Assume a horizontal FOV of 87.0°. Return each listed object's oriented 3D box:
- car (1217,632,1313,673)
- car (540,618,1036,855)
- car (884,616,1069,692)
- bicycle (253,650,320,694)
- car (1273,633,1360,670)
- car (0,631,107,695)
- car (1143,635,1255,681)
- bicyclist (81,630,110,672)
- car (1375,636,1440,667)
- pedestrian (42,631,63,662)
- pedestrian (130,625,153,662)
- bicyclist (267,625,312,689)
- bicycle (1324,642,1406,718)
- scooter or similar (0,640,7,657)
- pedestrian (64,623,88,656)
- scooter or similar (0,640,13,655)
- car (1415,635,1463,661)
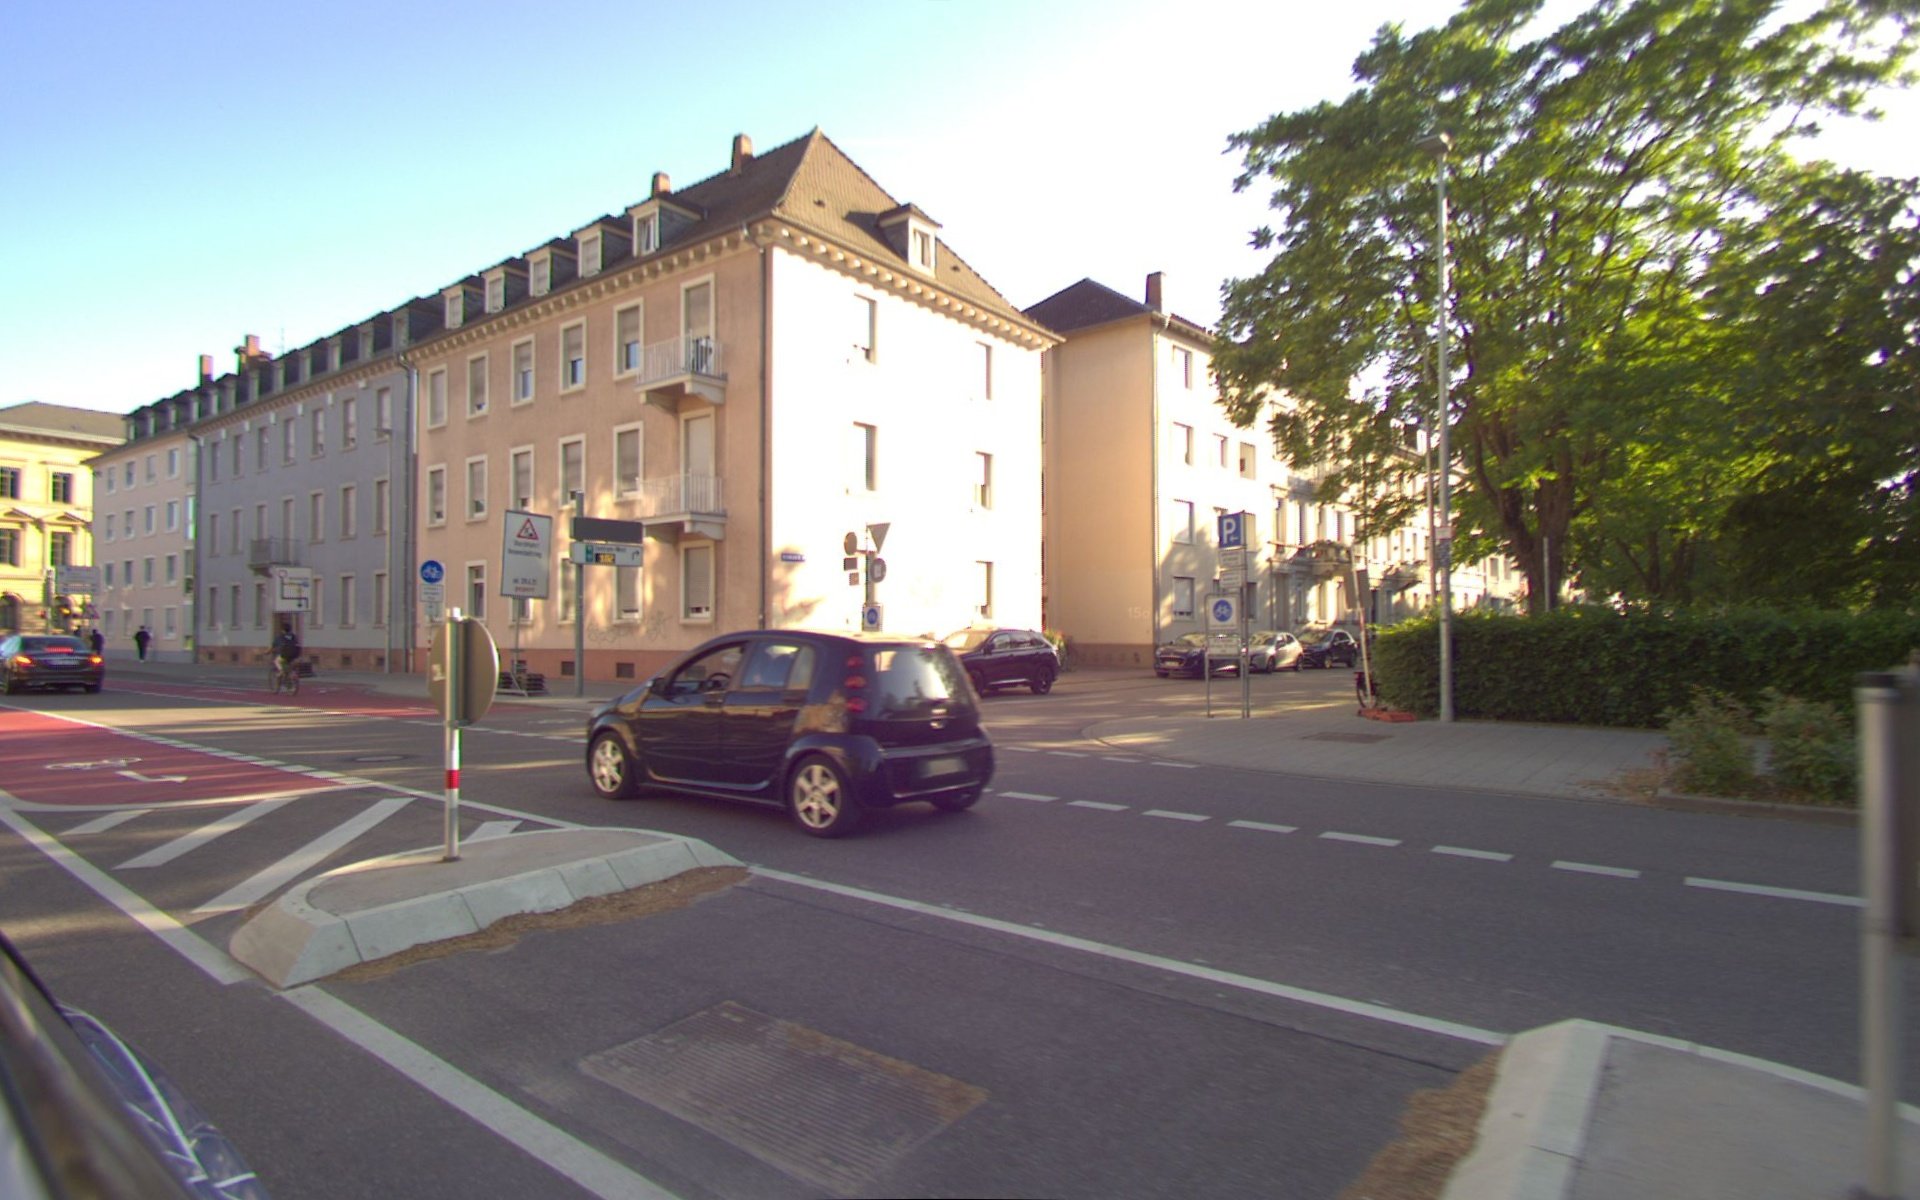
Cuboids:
[{"bbox_3d":[11.311,1.918,37.408,1.877,1.431,4.212,-2,-3,40],"label":"car"},{"bbox_3d":[-1.524,0.923,8.225,3.994,1.470,1.741,-2,-3,38],"label":"car"},{"bbox_3d":[0.495,1.294,24.840,2.061,1.691,4.524,-2,-3,43],"label":"car"},{"bbox_3d":[-16.151,1.715,24.253,2.106,1.003,0.645,-2,-4,37],"label":"bicycle"},{"bbox_3d":[14.472,2.067,40.989,1.999,1.431,3.945,-2,-3,41],"label":"car"},{"bbox_3d":[-22.740,1.497,24.852,4.547,1.430,1.794,-2,-3,37],"label":"car"},{"bbox_3d":[7.968,1.884,33.485,1.956,1.431,4.144,-2,-3,40],"label":"car"},{"bbox_3d":[-36.081,2.114,42.239,0.736,1.723,0.630,-2,-5,34],"label":"bicyclist"},{"bbox_3d":[21.541,2.449,48.672,1.810,1.431,3.946,-2,-3,40],"label":"car"},{"bbox_3d":[-47.862,2.429,53.350,0.816,1.595,0.626,-2,0,35],"label":"pedestrian"},{"bbox_3d":[-41.841,2.225,51.755,1.011,1.860,0.626,-2,0,35],"label":"pedestrian"},{"bbox_3d":[-16.053,1.377,24.232,0.664,1.497,0.650,-2,-6,37],"label":"bicyclist"},{"bbox_3d":[7.117,1.359,17.715,0.560,1.239,2.295,-2,-3,41],"label":"bicycle"},{"bbox_3d":[-69.236,3.483,71.992,1.999,1.197,0.457,1,-3,-34],"label":"scooter or similar"},{"bbox_3d":[-51.436,2.295,58.869,1.013,1.877,0.859,-2,0,39],"label":"pedestrian"},{"bbox_3d":[-69.592,3.446,72.860,0.454,1.060,2.012,-2,-3,31],"label":"scooter or similar"},{"bbox_3d":[25.235,2.516,53.293,1.476,1.279,3.368,-2,-3,40],"label":"car"}]
